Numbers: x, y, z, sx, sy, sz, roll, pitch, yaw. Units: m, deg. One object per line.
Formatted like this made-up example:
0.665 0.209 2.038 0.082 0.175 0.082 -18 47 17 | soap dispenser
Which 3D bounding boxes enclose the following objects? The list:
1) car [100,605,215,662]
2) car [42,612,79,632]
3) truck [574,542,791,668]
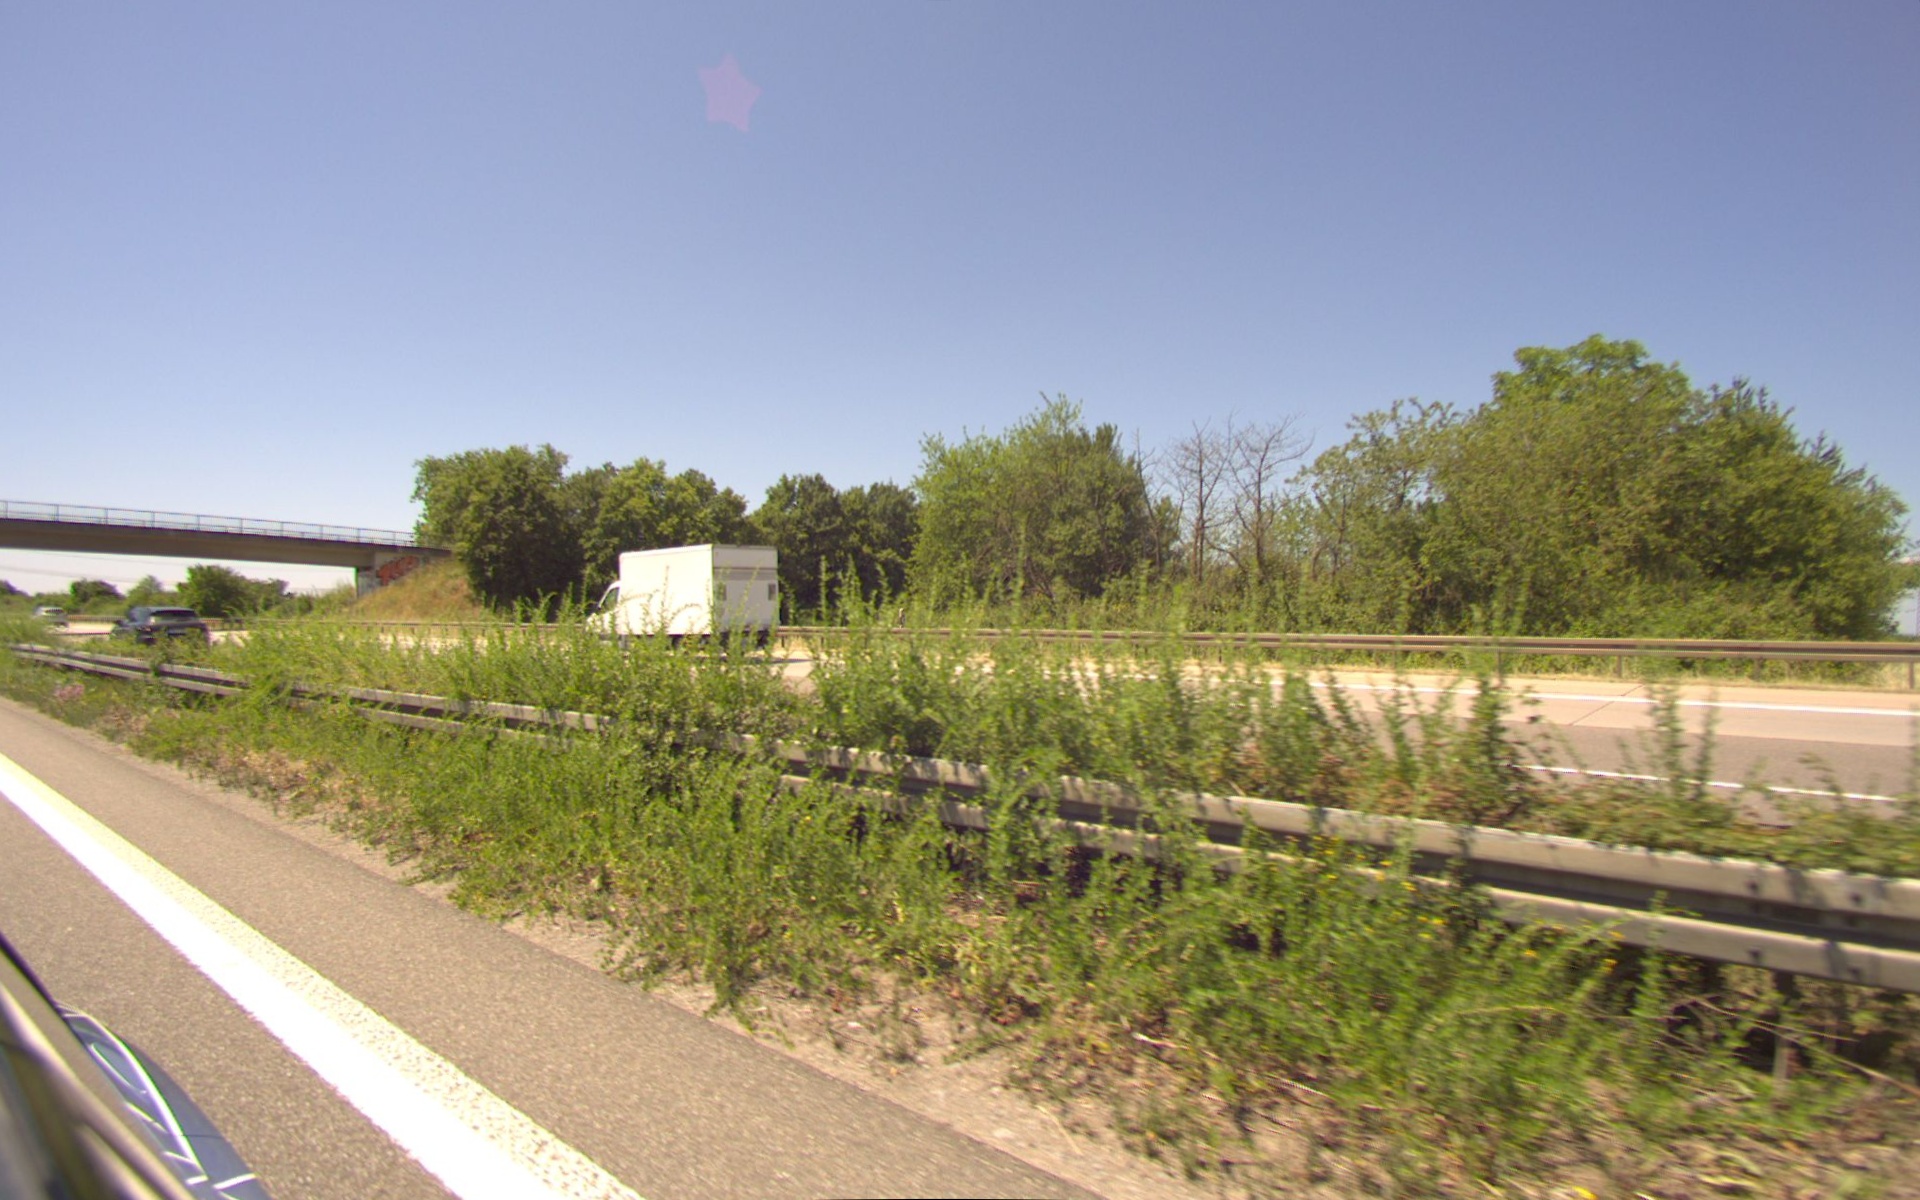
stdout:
-26.642 1.076 33.524 5.199 1.741 1.973 -1 -1 40 | car
-73.979 1.783 83.202 4.401 1.586 1.693 -1 -1 41 | car
-7.925 0.165 28.353 6.986 3.122 2.426 -1 -1 41 | truck
